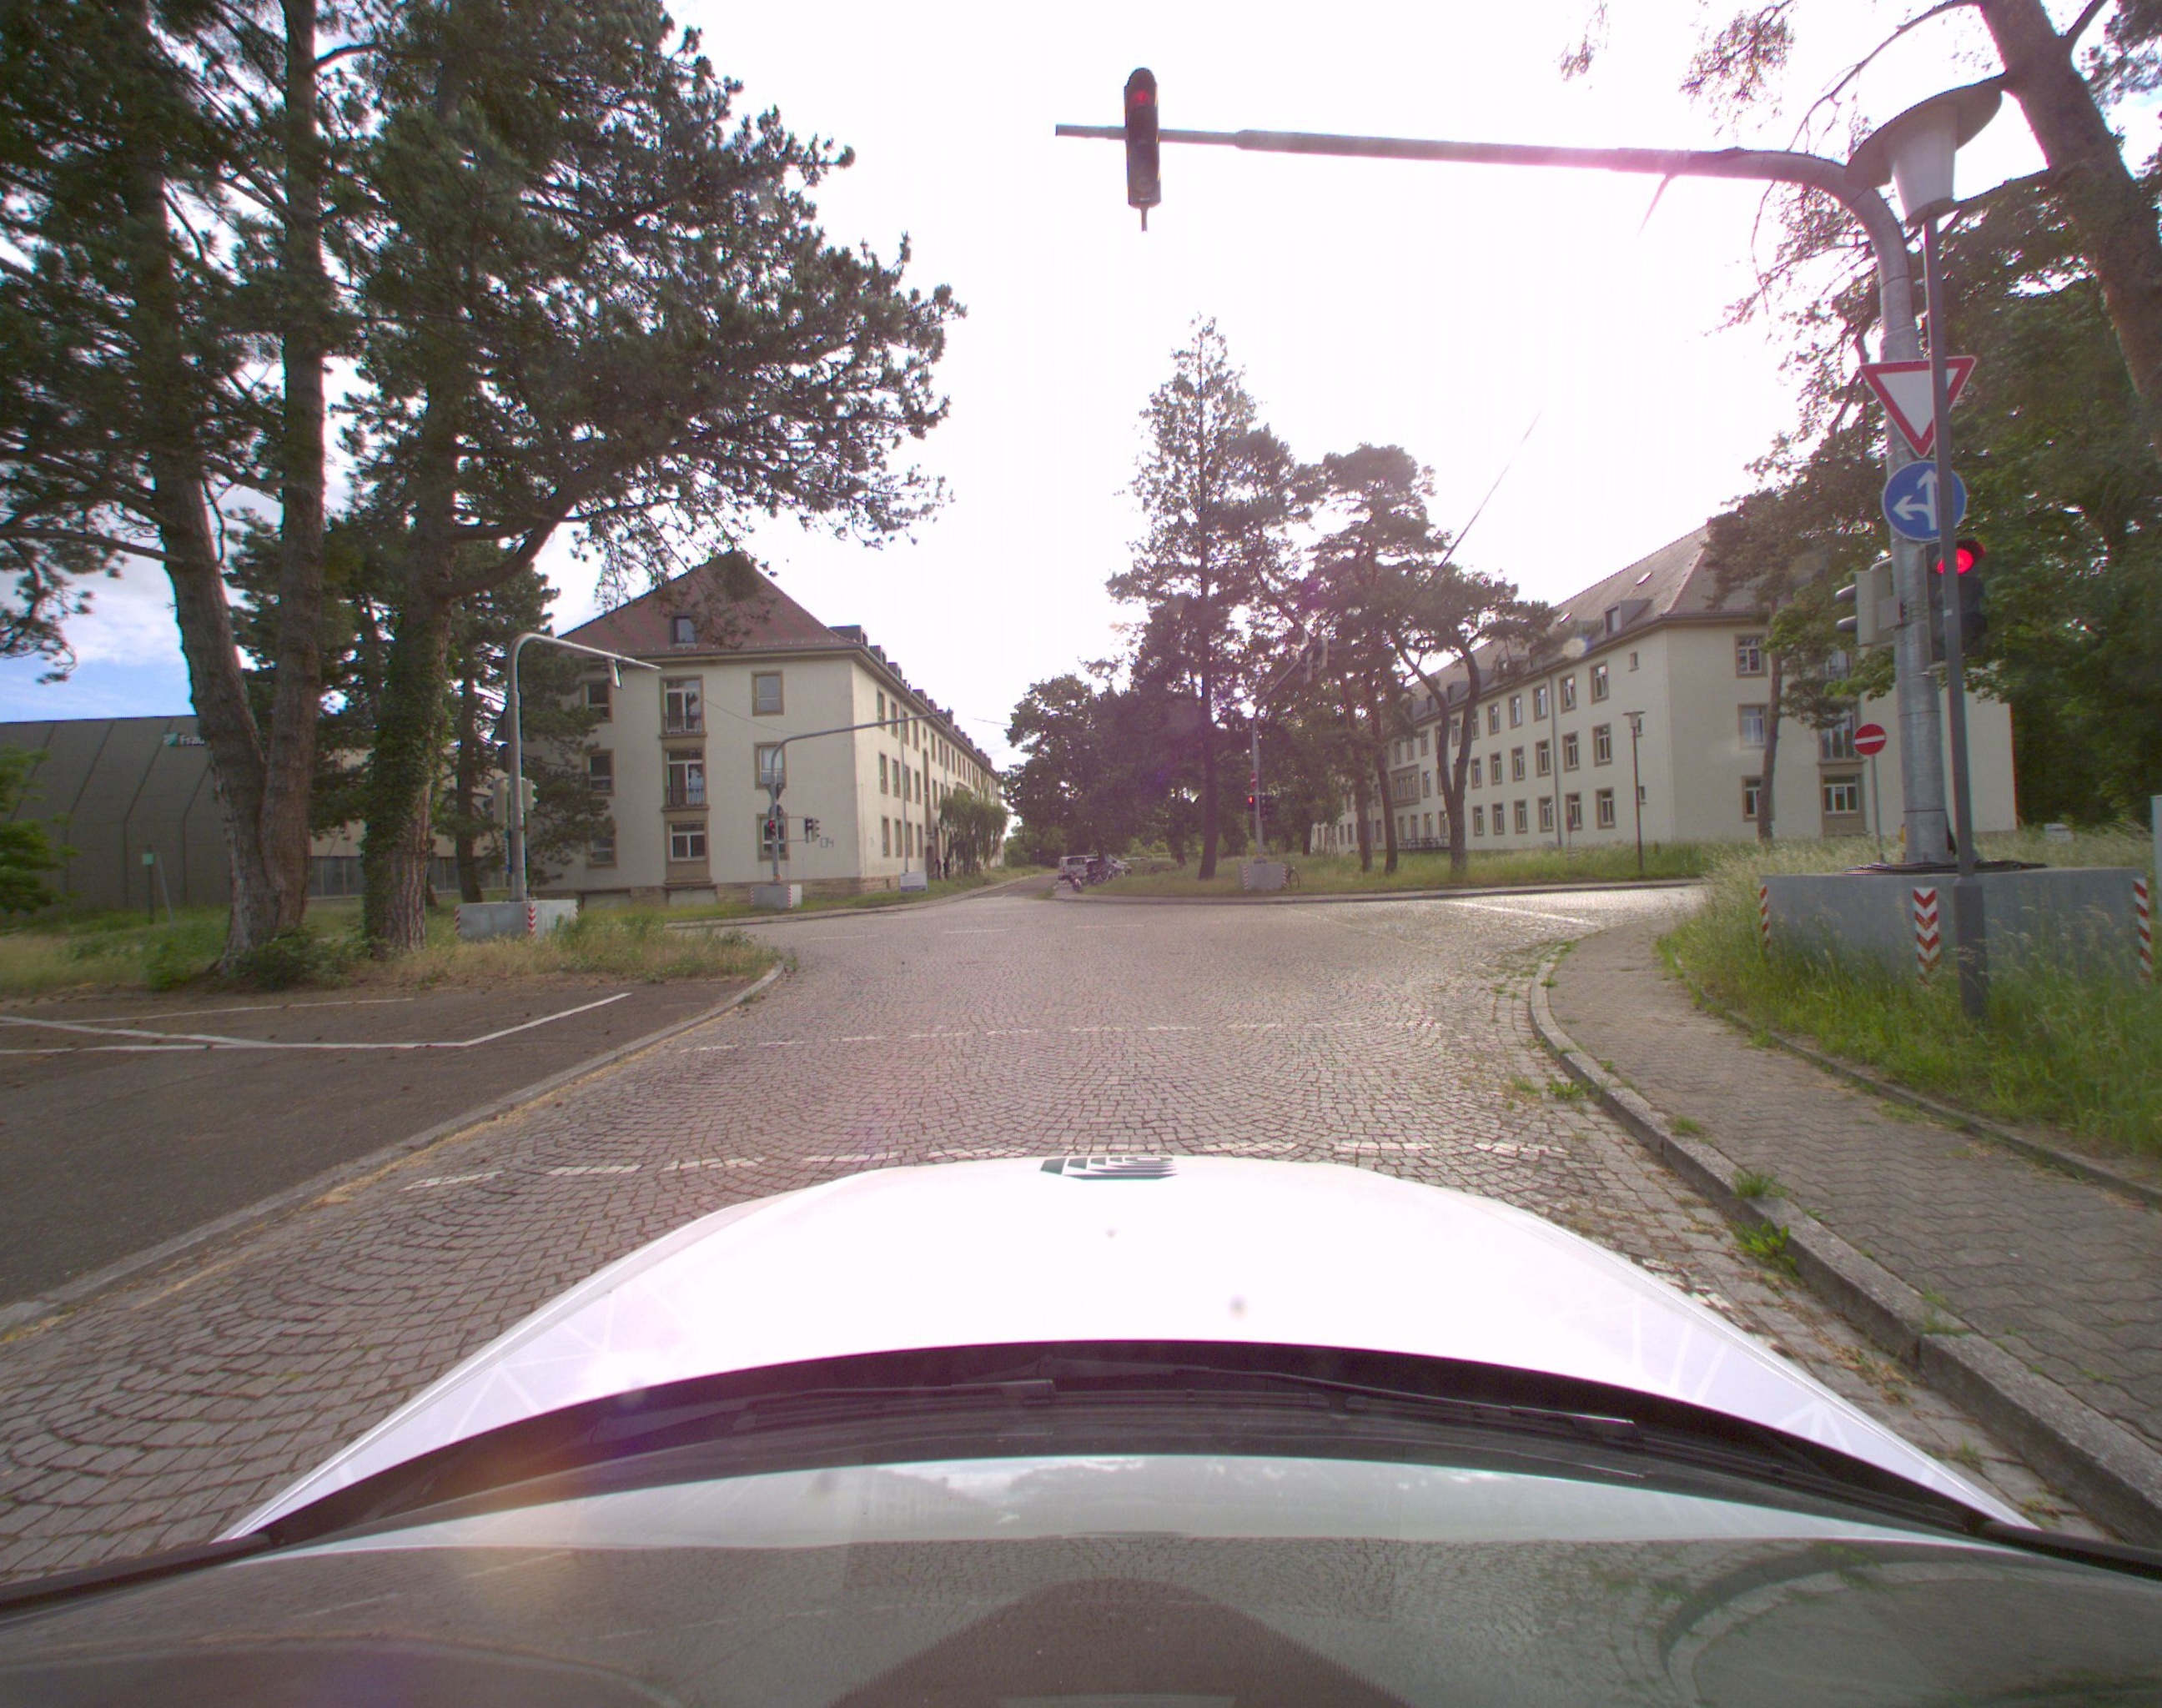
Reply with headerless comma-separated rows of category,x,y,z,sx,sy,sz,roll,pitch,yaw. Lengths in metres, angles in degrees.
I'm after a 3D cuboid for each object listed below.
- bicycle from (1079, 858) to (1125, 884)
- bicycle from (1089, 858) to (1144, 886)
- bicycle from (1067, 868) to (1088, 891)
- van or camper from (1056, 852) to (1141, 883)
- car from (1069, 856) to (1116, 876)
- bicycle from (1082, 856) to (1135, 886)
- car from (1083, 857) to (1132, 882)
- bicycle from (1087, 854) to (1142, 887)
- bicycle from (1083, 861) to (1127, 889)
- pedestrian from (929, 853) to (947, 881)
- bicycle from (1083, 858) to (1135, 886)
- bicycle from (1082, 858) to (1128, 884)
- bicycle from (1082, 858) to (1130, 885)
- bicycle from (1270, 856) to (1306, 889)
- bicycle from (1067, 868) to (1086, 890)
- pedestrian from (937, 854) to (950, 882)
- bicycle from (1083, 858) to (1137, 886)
bicycle,1.207,0.987,47.183,2.560,1.372,0.950,-2,-1,-1
bicycle,1.860,0.941,43.118,2.794,1.372,0.950,-2,-1,-1
bicycle,-0.139,1.162,37.316,0.898,0.996,1.978,-2,-1,0
van or camper,1.235,0.940,58.822,5.747,1.957,2.228,-2,-1,-13
car,1.004,1.088,72.644,3.977,1.600,1.702,-3,-1,-3
bicycle,1.371,0.859,41.316,2.611,1.367,0.874,-2,-1,-1
car,1.797,1.054,55.309,3.215,1.621,1.937,-1,-1,-1
bicycle,1.721,0.835,42.188,2.794,1.583,0.950,-2,-1,-1
bicycle,1.184,1.030,40.702,2.106,1.306,0.874,-2,-1,-1
pedestrian,-9.825,0.900,55.891,1.194,1.870,1.545,-1,-1,-10
bicycle,1.514,0.969,44.544,2.794,1.372,0.950,-2,-1,-1
bicycle,1.365,0.971,46.346,2.560,1.372,0.950,-2,-1,-1
bicycle,1.373,0.958,45.506,2.560,1.372,0.950,-2,-1,-1
bicycle,7.256,0.650,28.637,0.643,1.062,1.832,-6,0,-3
bicycle,-0.199,1.195,39.407,0.724,0.996,1.981,-2,-1,5
pedestrian,-9.521,0.948,56.506,0.865,1.932,0.834,0,-1,-11
bicycle,1.537,0.956,43.650,2.794,1.372,0.950,-2,-1,-1
